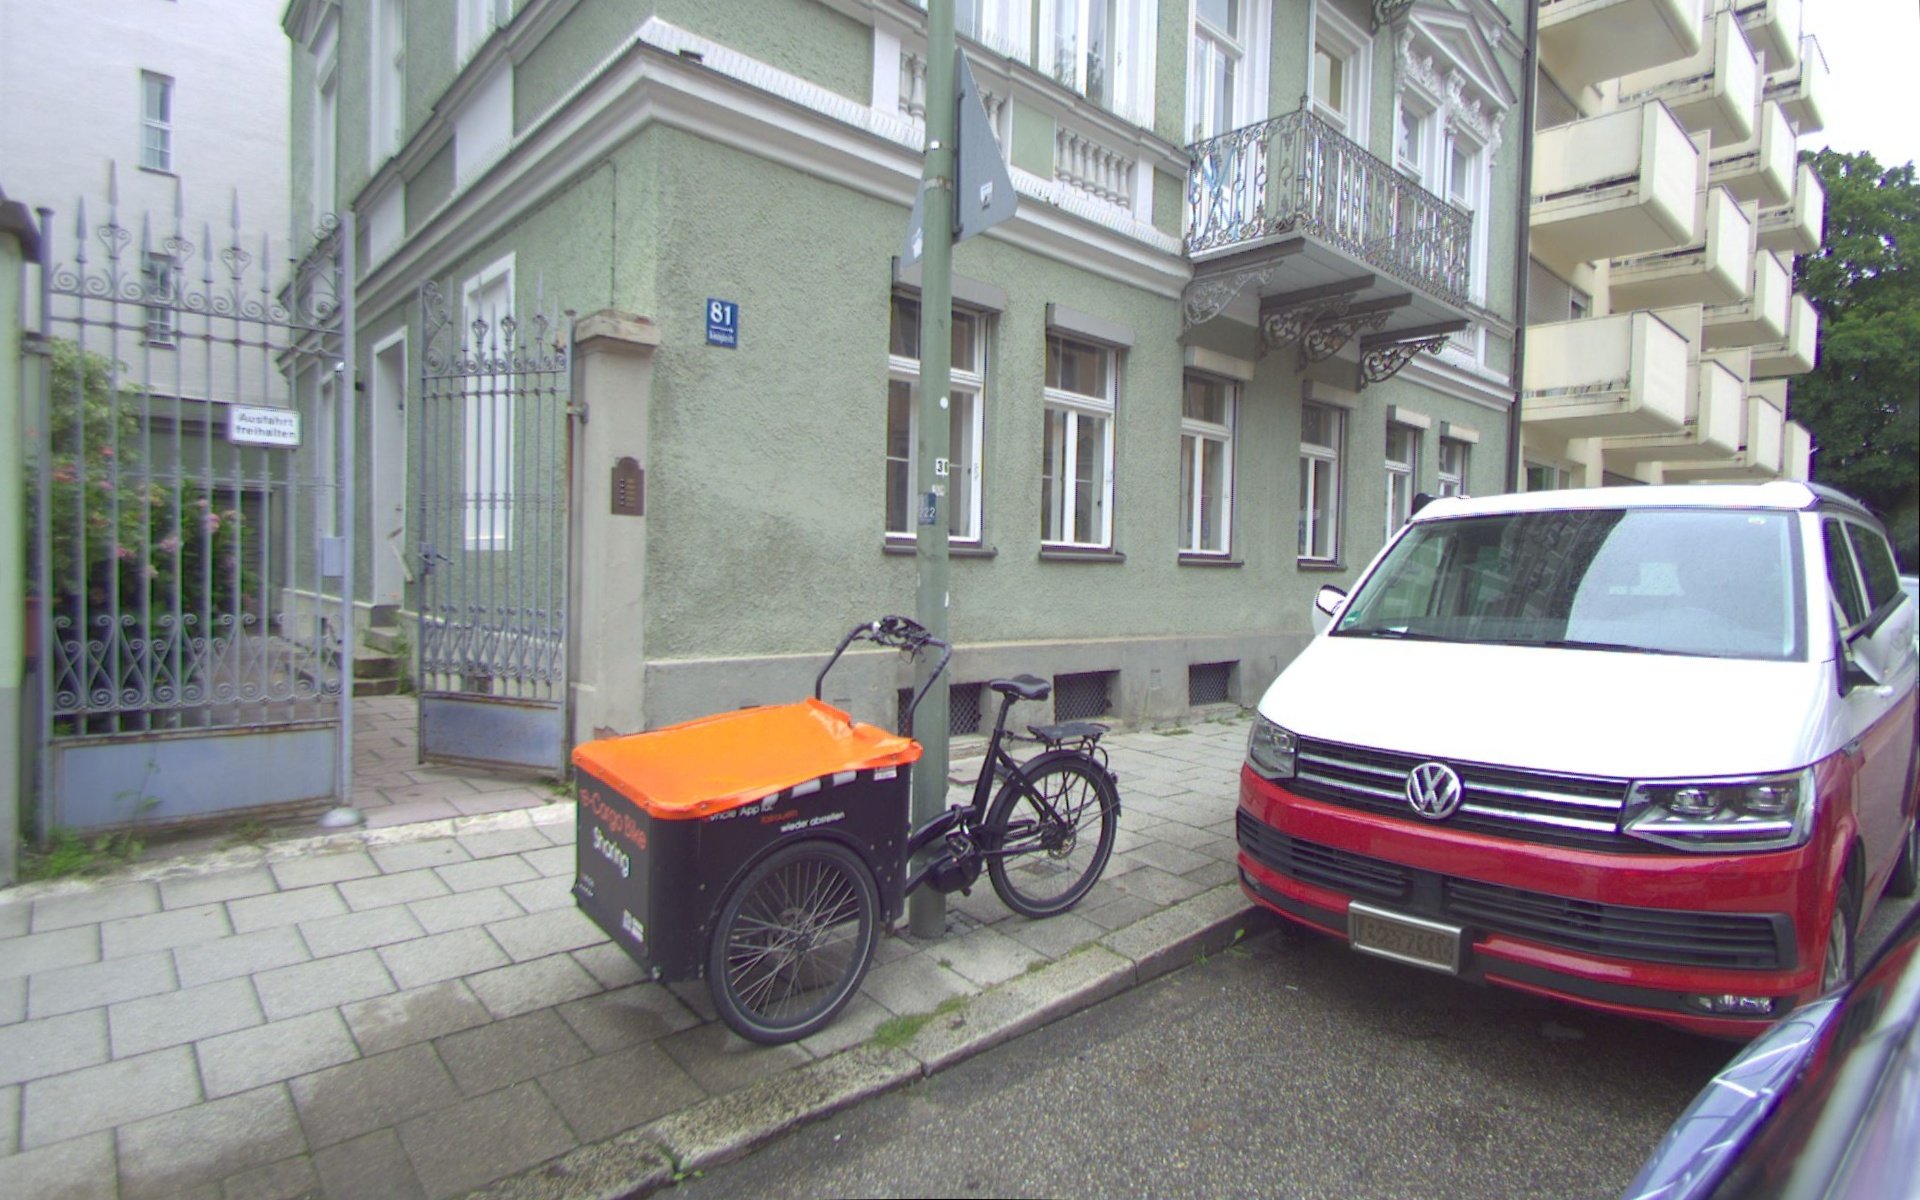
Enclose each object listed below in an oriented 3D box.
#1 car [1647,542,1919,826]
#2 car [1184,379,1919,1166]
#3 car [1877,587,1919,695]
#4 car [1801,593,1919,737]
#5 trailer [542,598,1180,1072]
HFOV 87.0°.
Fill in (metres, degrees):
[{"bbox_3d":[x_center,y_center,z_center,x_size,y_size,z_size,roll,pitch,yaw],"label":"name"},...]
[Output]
[{"bbox_3d":[7.271,0.534,8.268,4.476,1.780,1.829,1,0,-43],"label":"car"},{"bbox_3d":[3.142,0.416,4.686,4.513,1.920,1.856,0,0,-42],"label":"car"},{"bbox_3d":[15.761,0.608,16.013,3.911,1.591,1.548,0,0,-43],"label":"car"},{"bbox_3d":[11.410,0.688,12.164,3.911,1.515,1.548,0,0,-43],"label":"car"},{"bbox_3d":[-0.288,0.634,3.735,2.124,1.198,0.945,0,5,-38],"label":"trailer"}]
